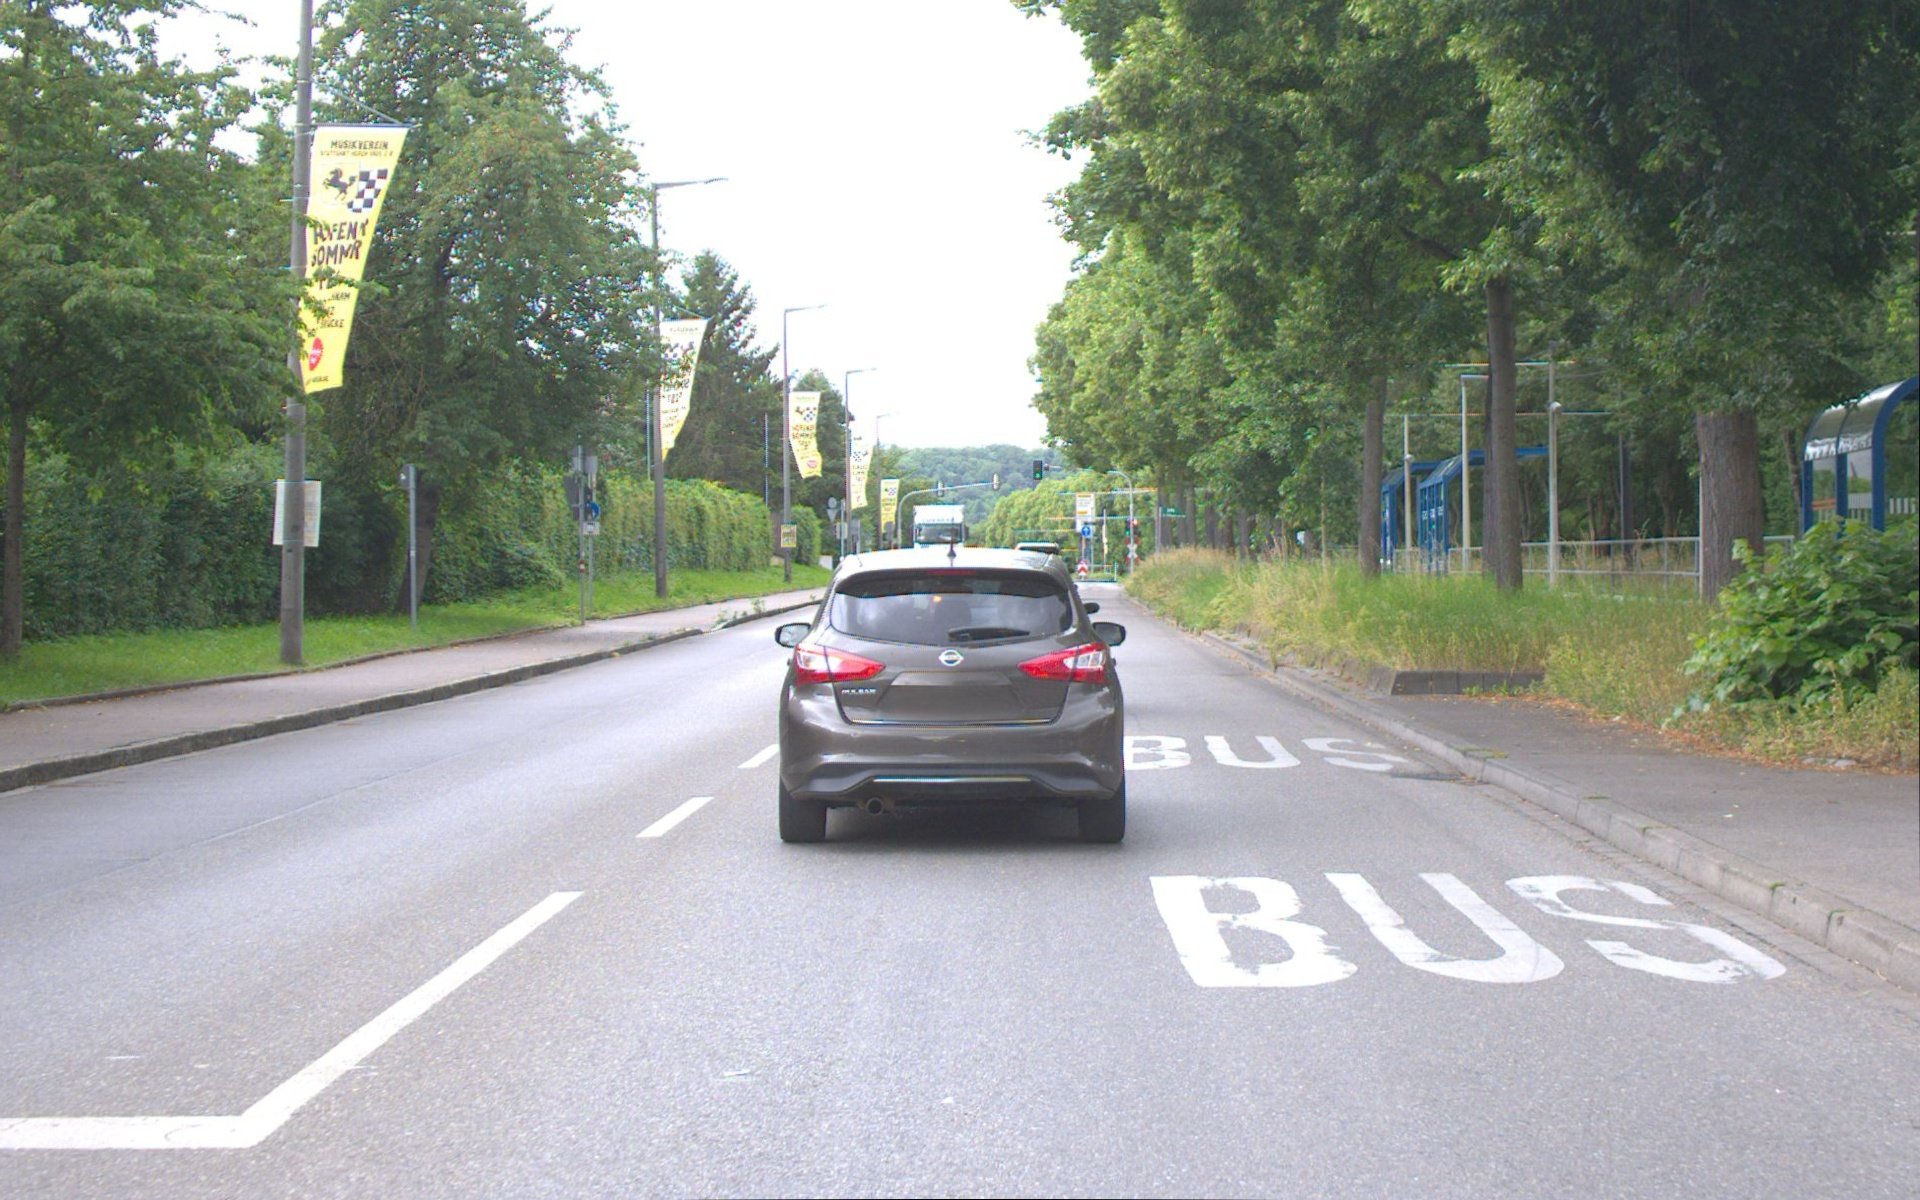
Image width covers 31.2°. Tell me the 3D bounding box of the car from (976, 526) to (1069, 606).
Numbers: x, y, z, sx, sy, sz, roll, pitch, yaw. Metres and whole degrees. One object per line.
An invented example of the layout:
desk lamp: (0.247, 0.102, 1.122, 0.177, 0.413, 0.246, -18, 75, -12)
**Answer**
car: (1.180, -0.634, 64.638, 1.691, 1.436, 3.541, 0, 0, 1)

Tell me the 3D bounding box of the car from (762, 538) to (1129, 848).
car: (-0.019, 0.452, 18.590, 1.783, 1.502, 3.696, 0, 0, 2)

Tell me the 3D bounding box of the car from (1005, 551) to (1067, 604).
car: (2.126, -0.631, 96.635, 1.691, 1.436, 3.541, 0, 0, 1)

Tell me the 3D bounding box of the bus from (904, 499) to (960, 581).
bus: (-1.374, -2.975, 173.462, 2.487, 4.012, 10.217, 0, 1, 1)

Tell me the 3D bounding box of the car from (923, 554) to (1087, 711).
car: (0.449, 0.289, 33.398, 1.502, 1.436, 3.541, 0, 0, 1)
